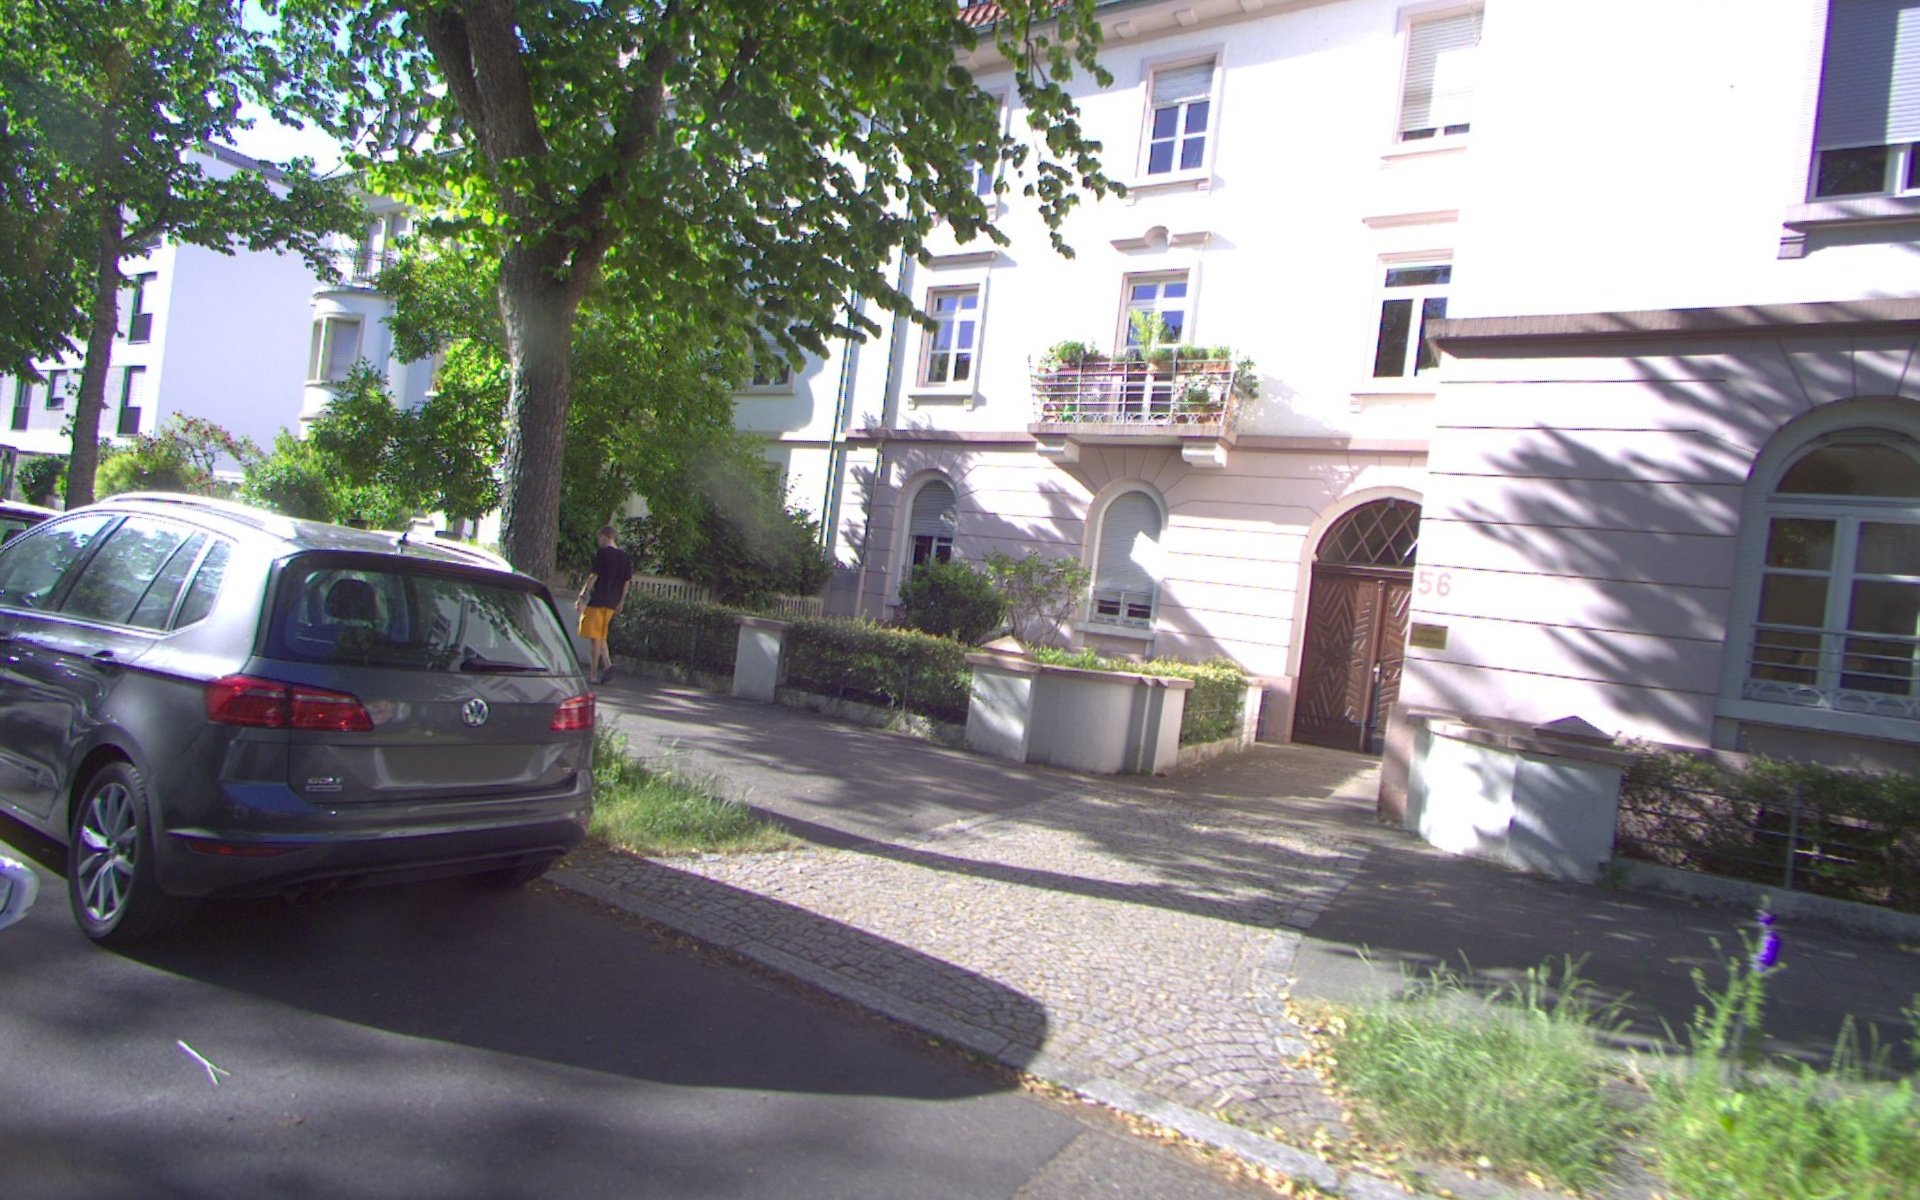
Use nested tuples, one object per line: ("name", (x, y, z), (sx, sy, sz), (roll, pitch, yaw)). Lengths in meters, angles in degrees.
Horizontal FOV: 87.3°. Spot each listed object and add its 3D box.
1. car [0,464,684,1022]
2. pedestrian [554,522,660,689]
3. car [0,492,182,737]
("car", (-3.664, 0.333, 4.899), (4.459, 1.605, 1.688), (7, -2, 31))
("pedestrian", (-4.039, 0.068, 11.503), (0.786, 1.797, 0.623), (7, 1, 32))
("car", (-7.524, -0.112, 7.210), (4.296, 1.443, 1.631), (7, 0, 32))
